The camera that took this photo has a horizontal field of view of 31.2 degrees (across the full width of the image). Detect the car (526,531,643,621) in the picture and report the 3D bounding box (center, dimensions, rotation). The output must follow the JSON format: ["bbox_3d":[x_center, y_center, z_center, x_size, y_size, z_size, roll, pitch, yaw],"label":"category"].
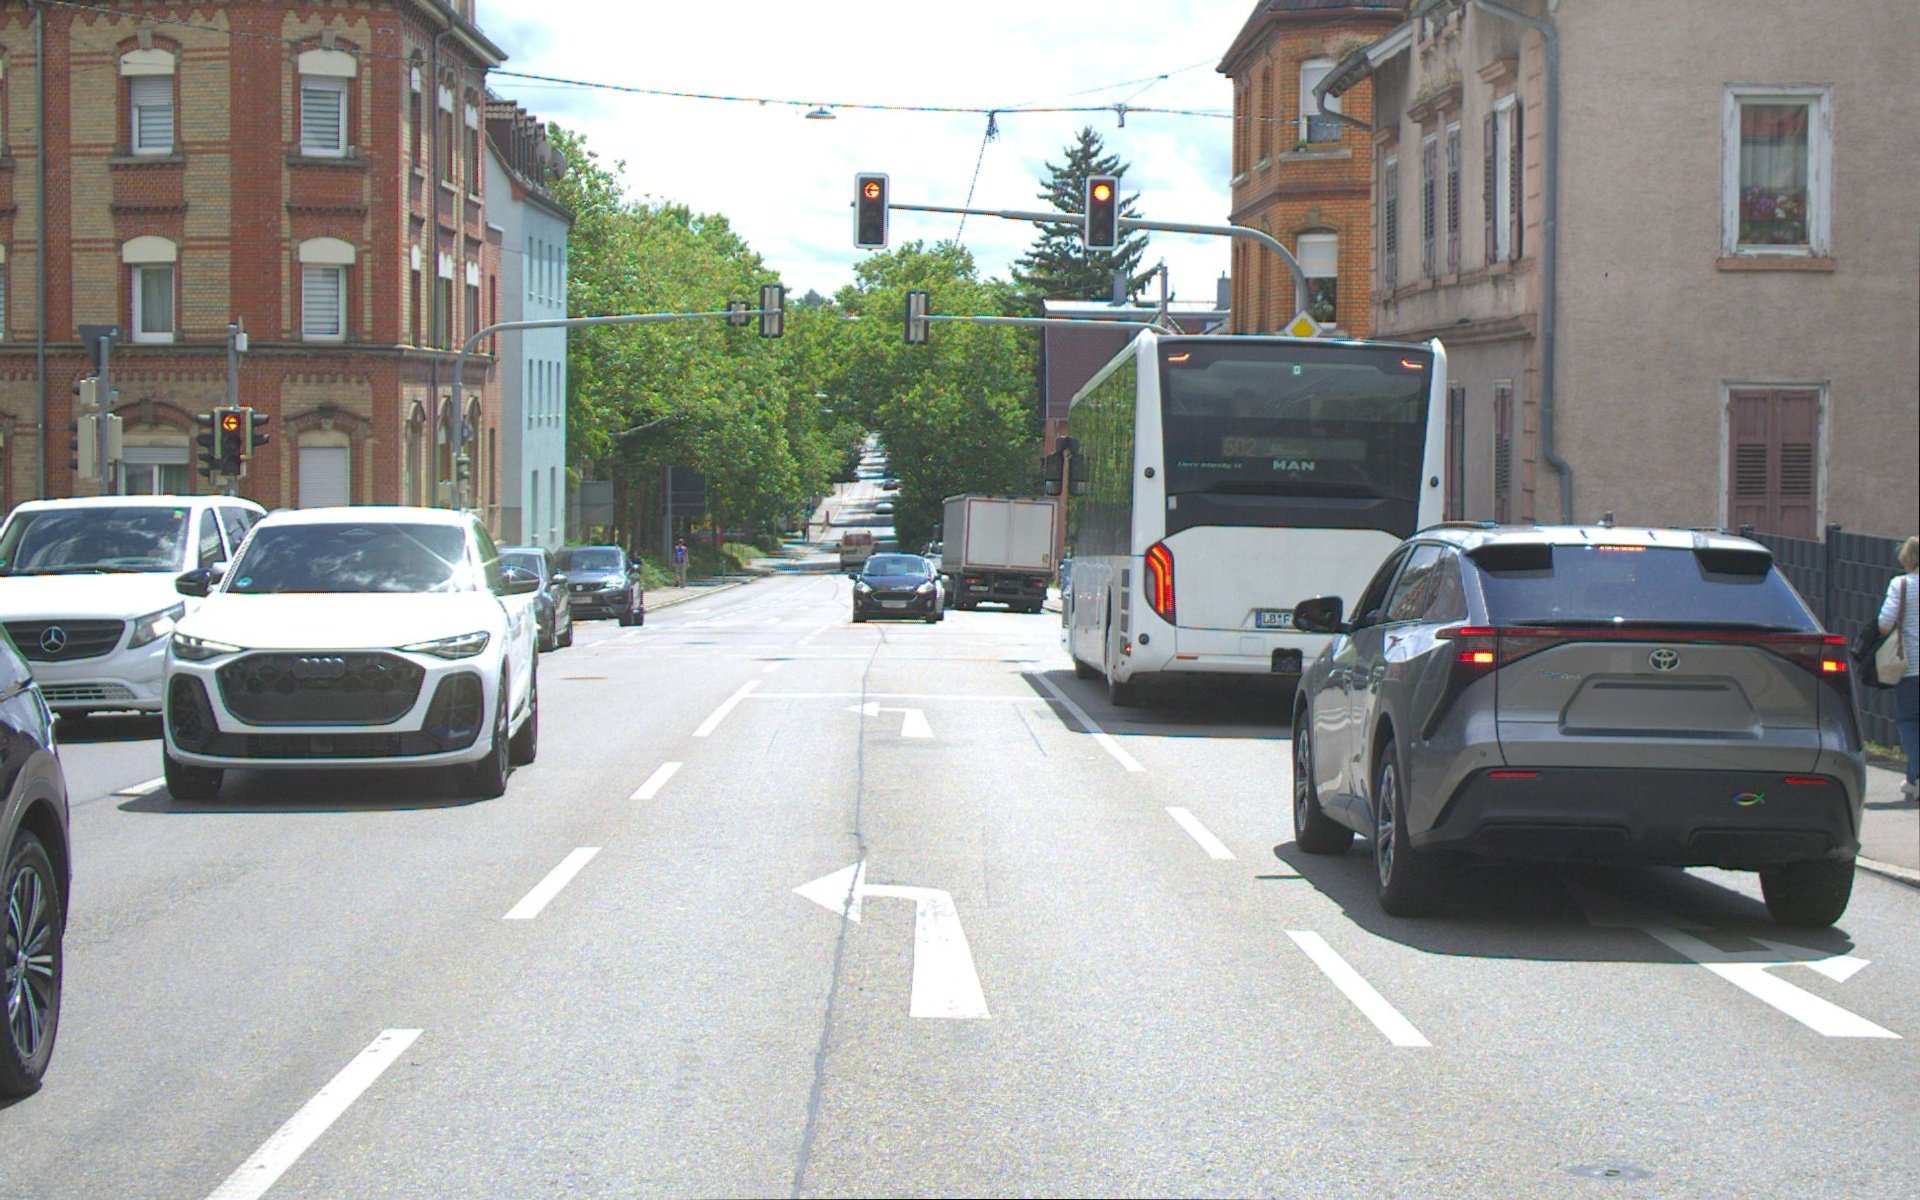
[{"bbox_3d":[-7.162,-0.488,65.905,1.864,1.660,4.260,0,1,-1],"label":"car"}]

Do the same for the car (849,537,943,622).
[{"bbox_3d":[-1.336,-0.451,71.103,1.864,1.660,4.260,0,1,-1],"label":"car"}]

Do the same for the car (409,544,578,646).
[{"bbox_3d":[-6.404,-0.100,47.590,1.864,1.315,4.260,0,1,-1],"label":"car"}]

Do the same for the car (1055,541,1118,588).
[{"bbox_3d":[4.401,-1.251,120.130,1.930,1.577,4.208,-1,1,-1],"label":"car"}]

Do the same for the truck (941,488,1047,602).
[{"bbox_3d":[0.906,-1.625,98.797,2.666,3.097,9.036,-1,1,-2],"label":"truck"}]

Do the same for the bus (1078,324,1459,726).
[{"bbox_3d":[2.674,-0.684,33.601,2.802,3.187,12.195,1,1,1],"label":"bus"}]

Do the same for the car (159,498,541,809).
[{"bbox_3d":[-3.523,0.234,20.560,1.863,1.650,4.380,0,1,-5],"label":"car"}]

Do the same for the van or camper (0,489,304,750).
[{"bbox_3d":[-6.732,0.076,27.850,1.970,1.908,5.129,1,1,-1],"label":"van or camper"}]

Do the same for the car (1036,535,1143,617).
[{"bbox_3d":[2.623,-0.522,70.269,1.930,1.577,4.208,-1,1,-1],"label":"car"}]

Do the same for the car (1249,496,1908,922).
[{"bbox_3d":[2.493,0.347,14.967,1.930,1.577,4.209,0,2,-2],"label":"car"}]

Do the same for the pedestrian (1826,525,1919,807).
[{"bbox_3d":[5.599,0.359,19.982,0.813,1.576,1.070,-2,1,-1],"label":"pedestrian"}]

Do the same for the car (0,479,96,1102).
[{"bbox_3d":[-3.268,0.488,7.417,1.864,1.535,4.107,1,1,-1],"label":"car"}]

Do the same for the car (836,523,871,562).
[{"bbox_3d":[-5.574,-3.019,179.904,1.832,1.875,4.001,0,2,-2],"label":"car"}]
